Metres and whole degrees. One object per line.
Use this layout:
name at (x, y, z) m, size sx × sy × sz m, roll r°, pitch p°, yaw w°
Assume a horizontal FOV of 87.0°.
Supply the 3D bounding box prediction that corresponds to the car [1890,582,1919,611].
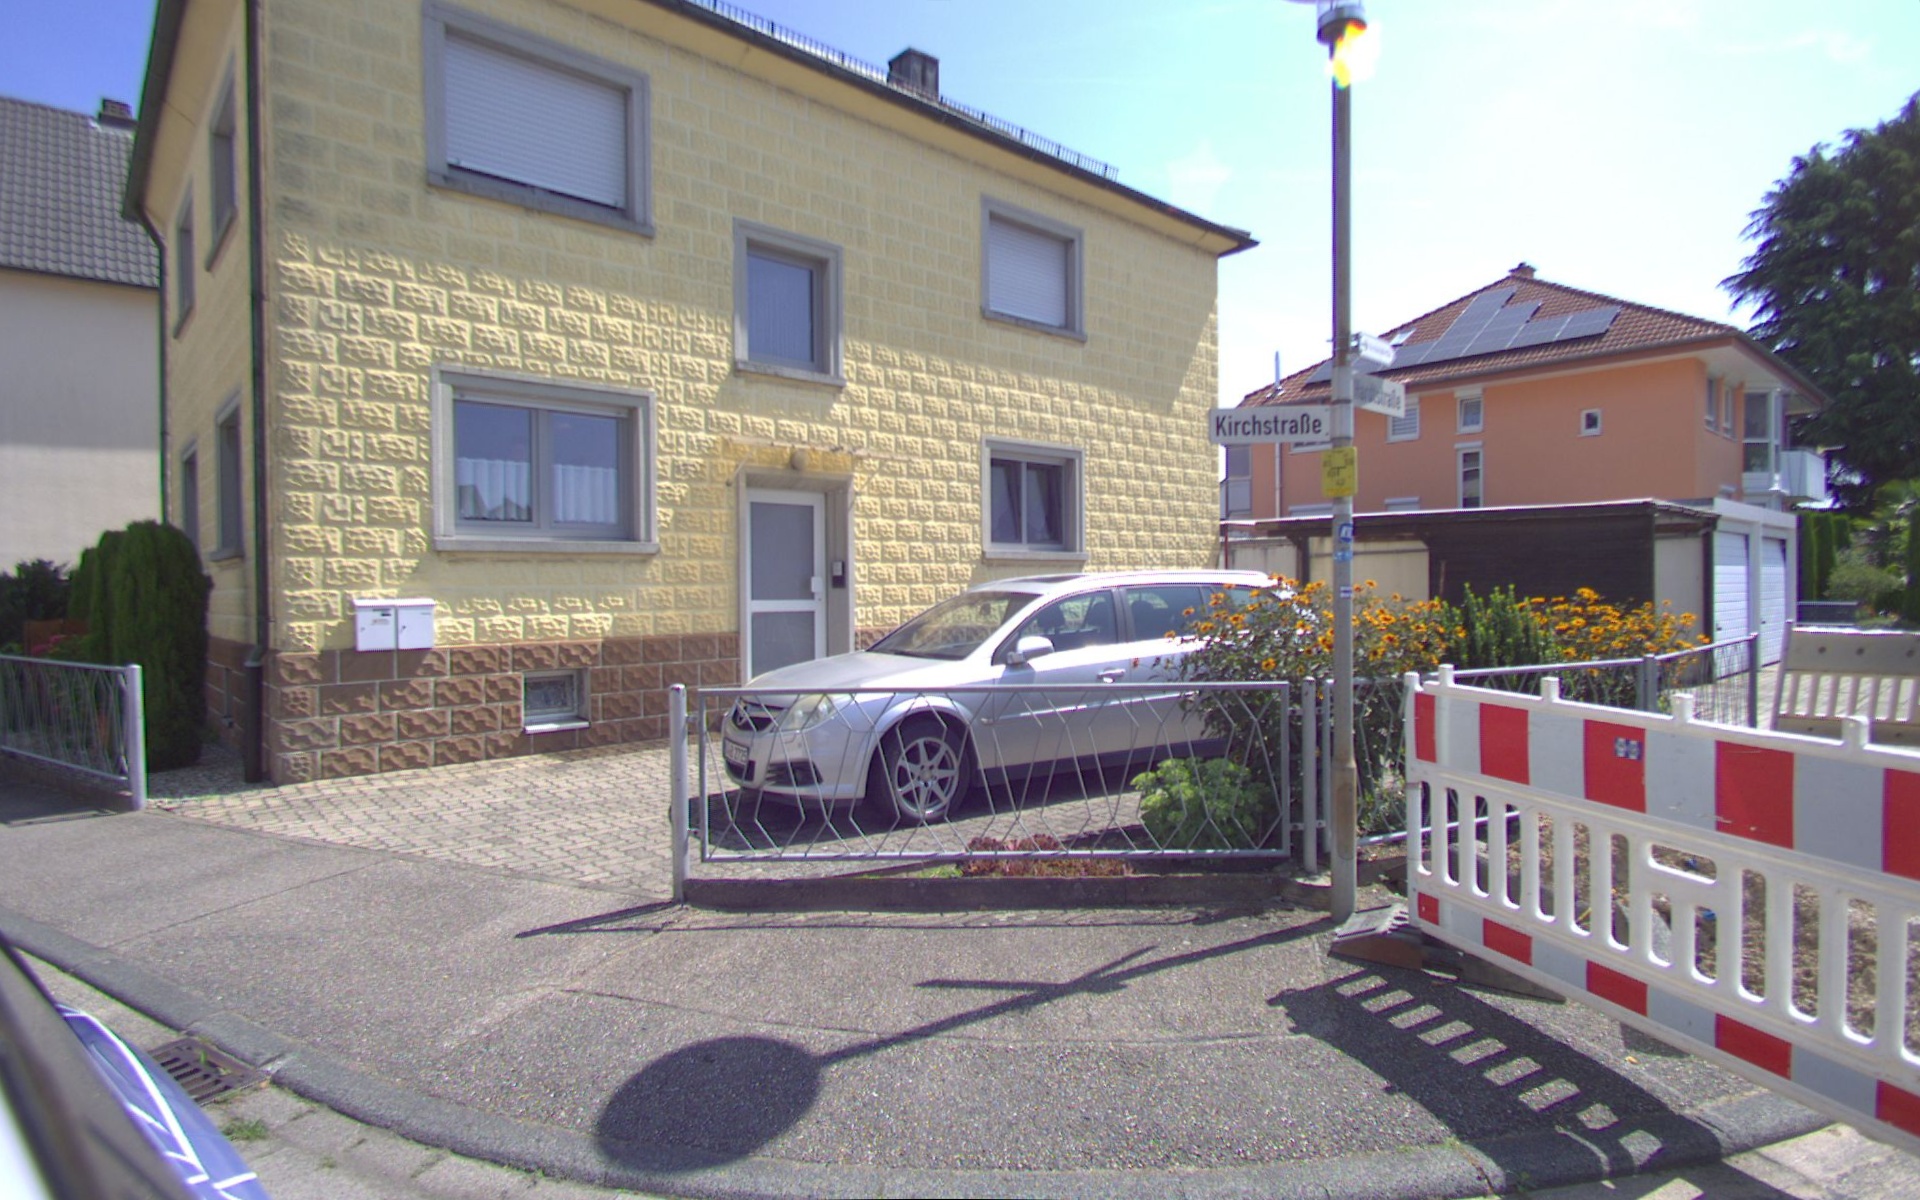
car at (55.470, -0.215, 57.120) m, size 1.785 × 1.665 × 4.214 m, roll -1°, pitch 1°, yaw -40°

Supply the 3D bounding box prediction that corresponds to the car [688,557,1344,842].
car at (0.513, 0.490, 7.204) m, size 4.396 × 1.496 × 1.797 m, roll -1°, pitch 1°, yaw -30°
